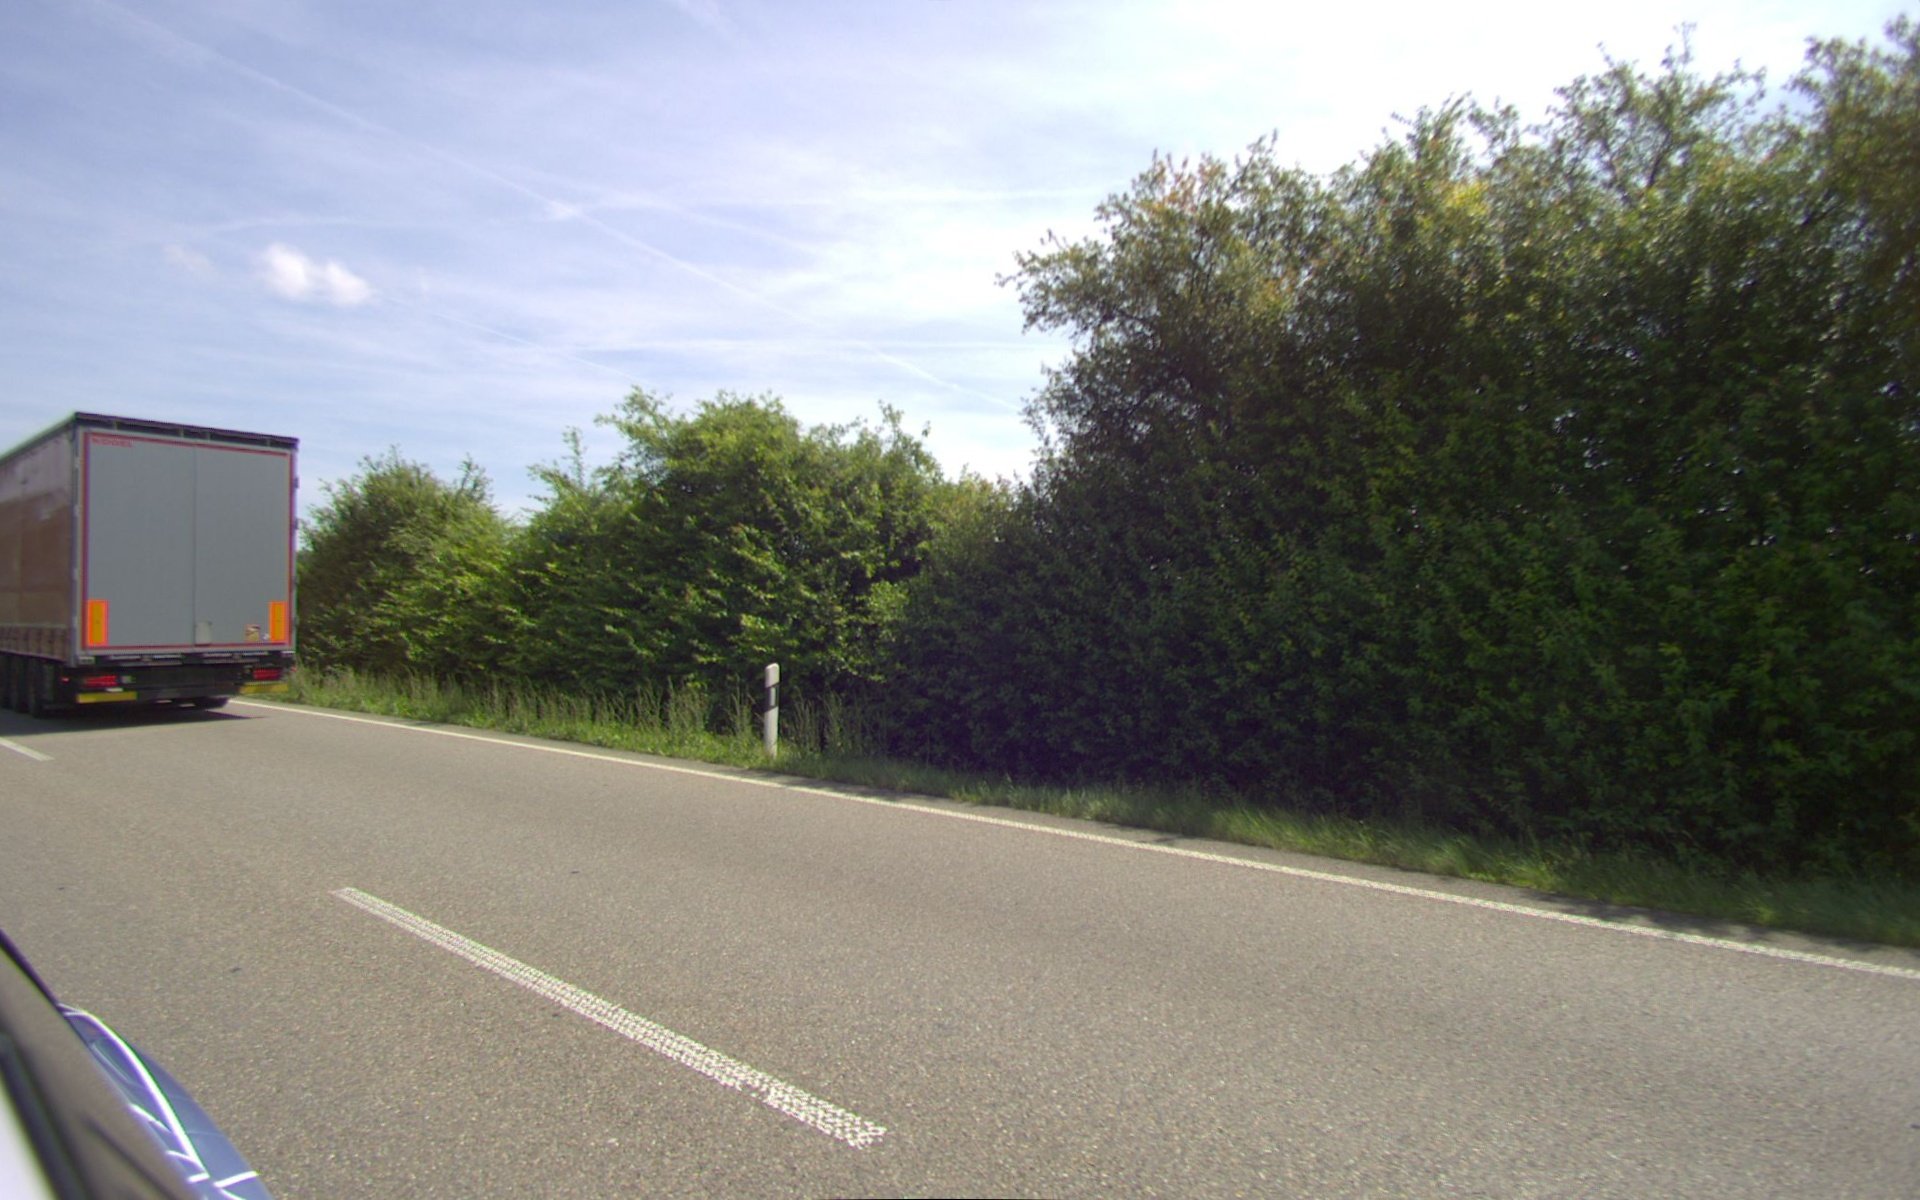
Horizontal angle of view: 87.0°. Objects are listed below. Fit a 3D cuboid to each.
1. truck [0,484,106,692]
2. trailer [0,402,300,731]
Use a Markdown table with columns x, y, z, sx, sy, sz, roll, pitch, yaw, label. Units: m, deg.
| x | y | z | sx | sy | sz | roll | pitch | yaw | label |
| --- | --- | --- | --- | --- | --- | --- | --- | --- | --- |
| -21.147 | -0.197 | 22.246 | 5.792 | 4.147 | 2.534 | -1 | -1 | 38 | truck |
| -15.750 | -0.306 | 17.998 | 13.644 | 4.139 | 2.544 | -1 | -1 | 38 | trailer |
